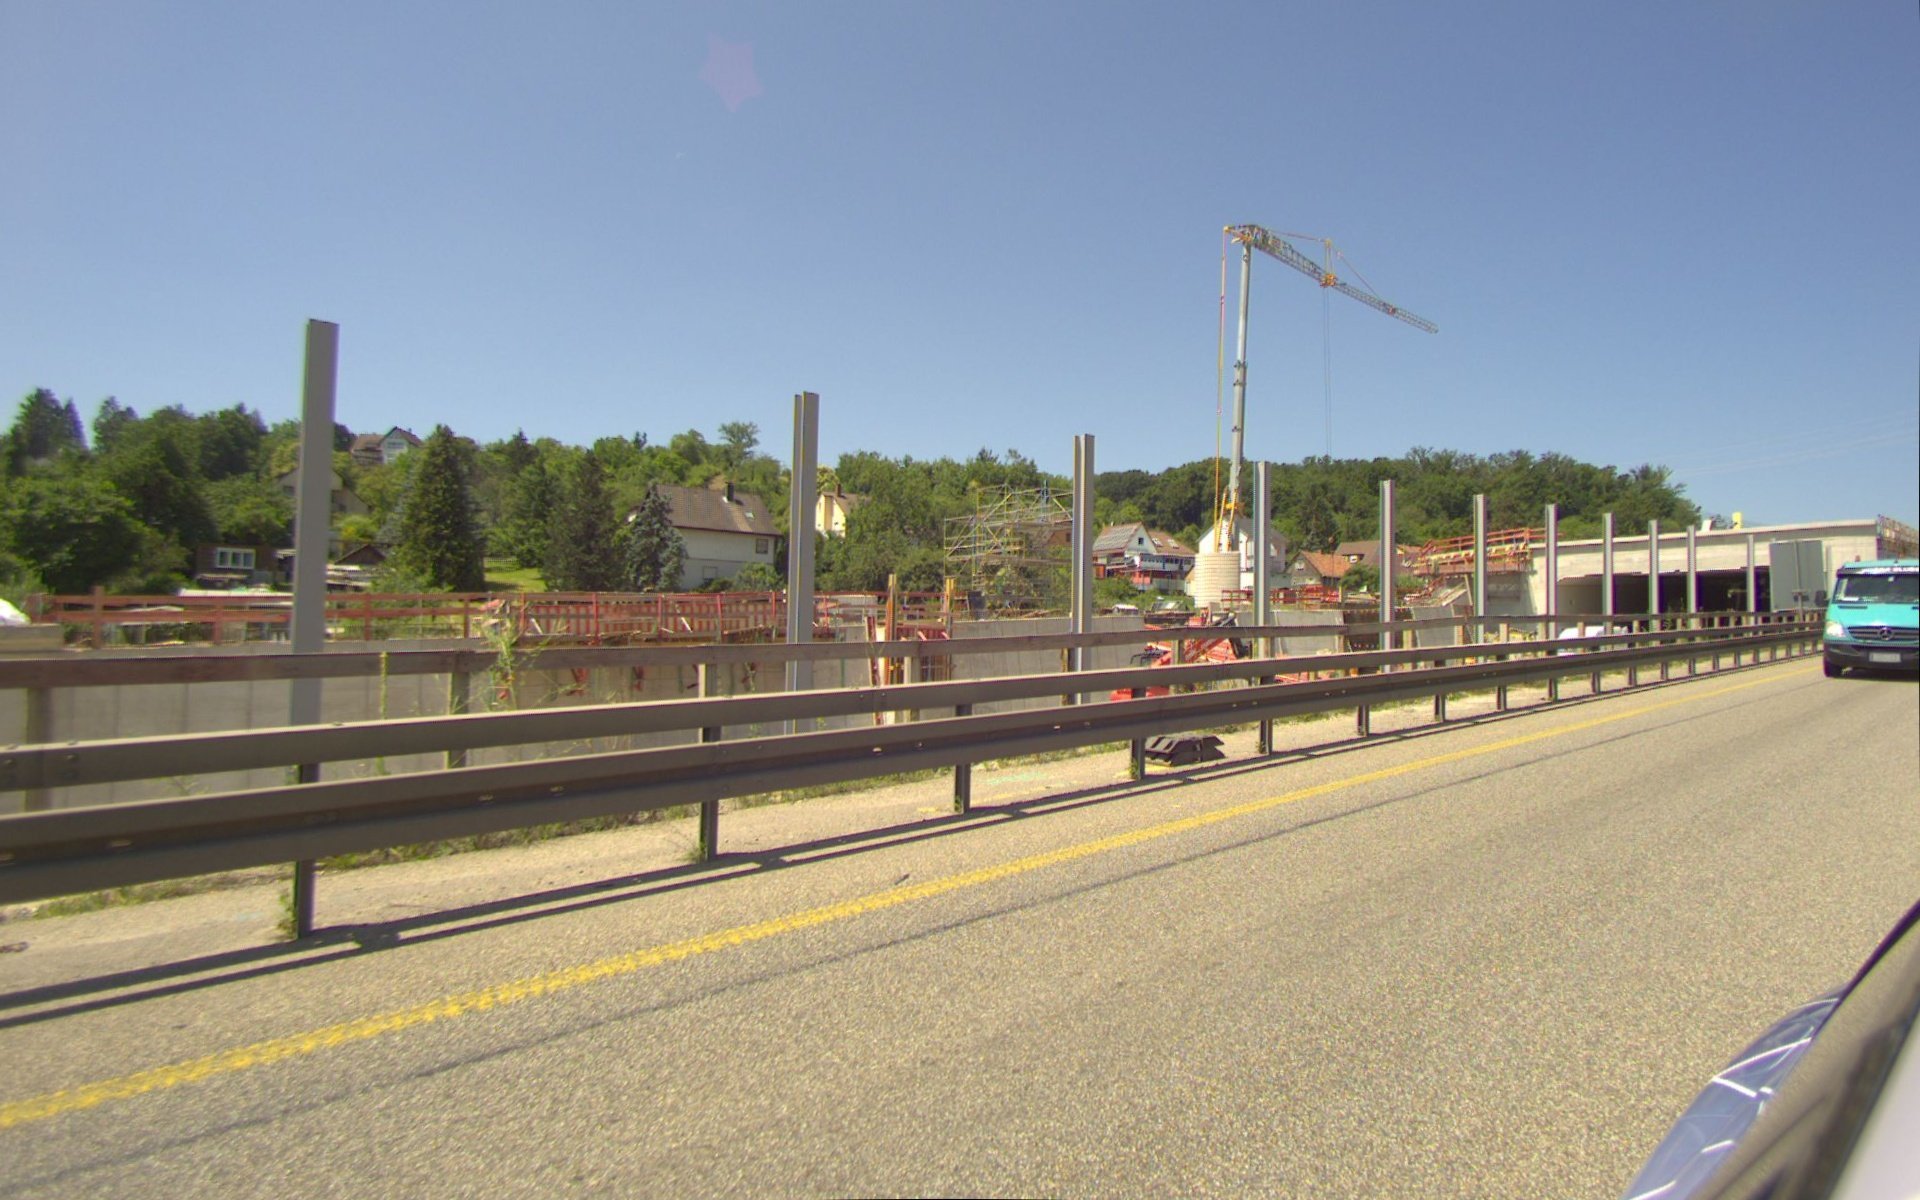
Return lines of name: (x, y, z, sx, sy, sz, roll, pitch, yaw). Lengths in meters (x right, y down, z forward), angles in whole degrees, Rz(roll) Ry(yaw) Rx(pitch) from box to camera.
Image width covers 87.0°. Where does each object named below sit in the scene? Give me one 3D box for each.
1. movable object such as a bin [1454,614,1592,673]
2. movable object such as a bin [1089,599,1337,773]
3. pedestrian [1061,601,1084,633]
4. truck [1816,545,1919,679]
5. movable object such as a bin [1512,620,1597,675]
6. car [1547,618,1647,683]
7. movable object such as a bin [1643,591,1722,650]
movable object such as a bin: (36.498, 2.910, 66.003, 3.425, 2.941, 7.159, -1, -8, -19)
movable object such as a bin: (8.675, 2.489, 33.759, 9.490, 4.802, 3.232, -2, 1, -42)
pedestrian: (7.391, 1.107, 66.477, 0.955, 2.012, 1.140, -1, 1, -37)
truck: (19.668, 0.122, 20.737, 7.304, 2.386, 2.138, -2, 1, -41)
movable object such as a bin: (32.997, 2.572, 56.138, 5.399, 2.710, 2.151, -2, 1, -37)
car: (33.105, 2.544, 52.518, 6.895, 2.891, 2.150, -2, 1, -38)
movable object such as a bin: (55.117, 1.447, 77.111, 8.999, 4.113, 2.958, -2, 1, -42)
